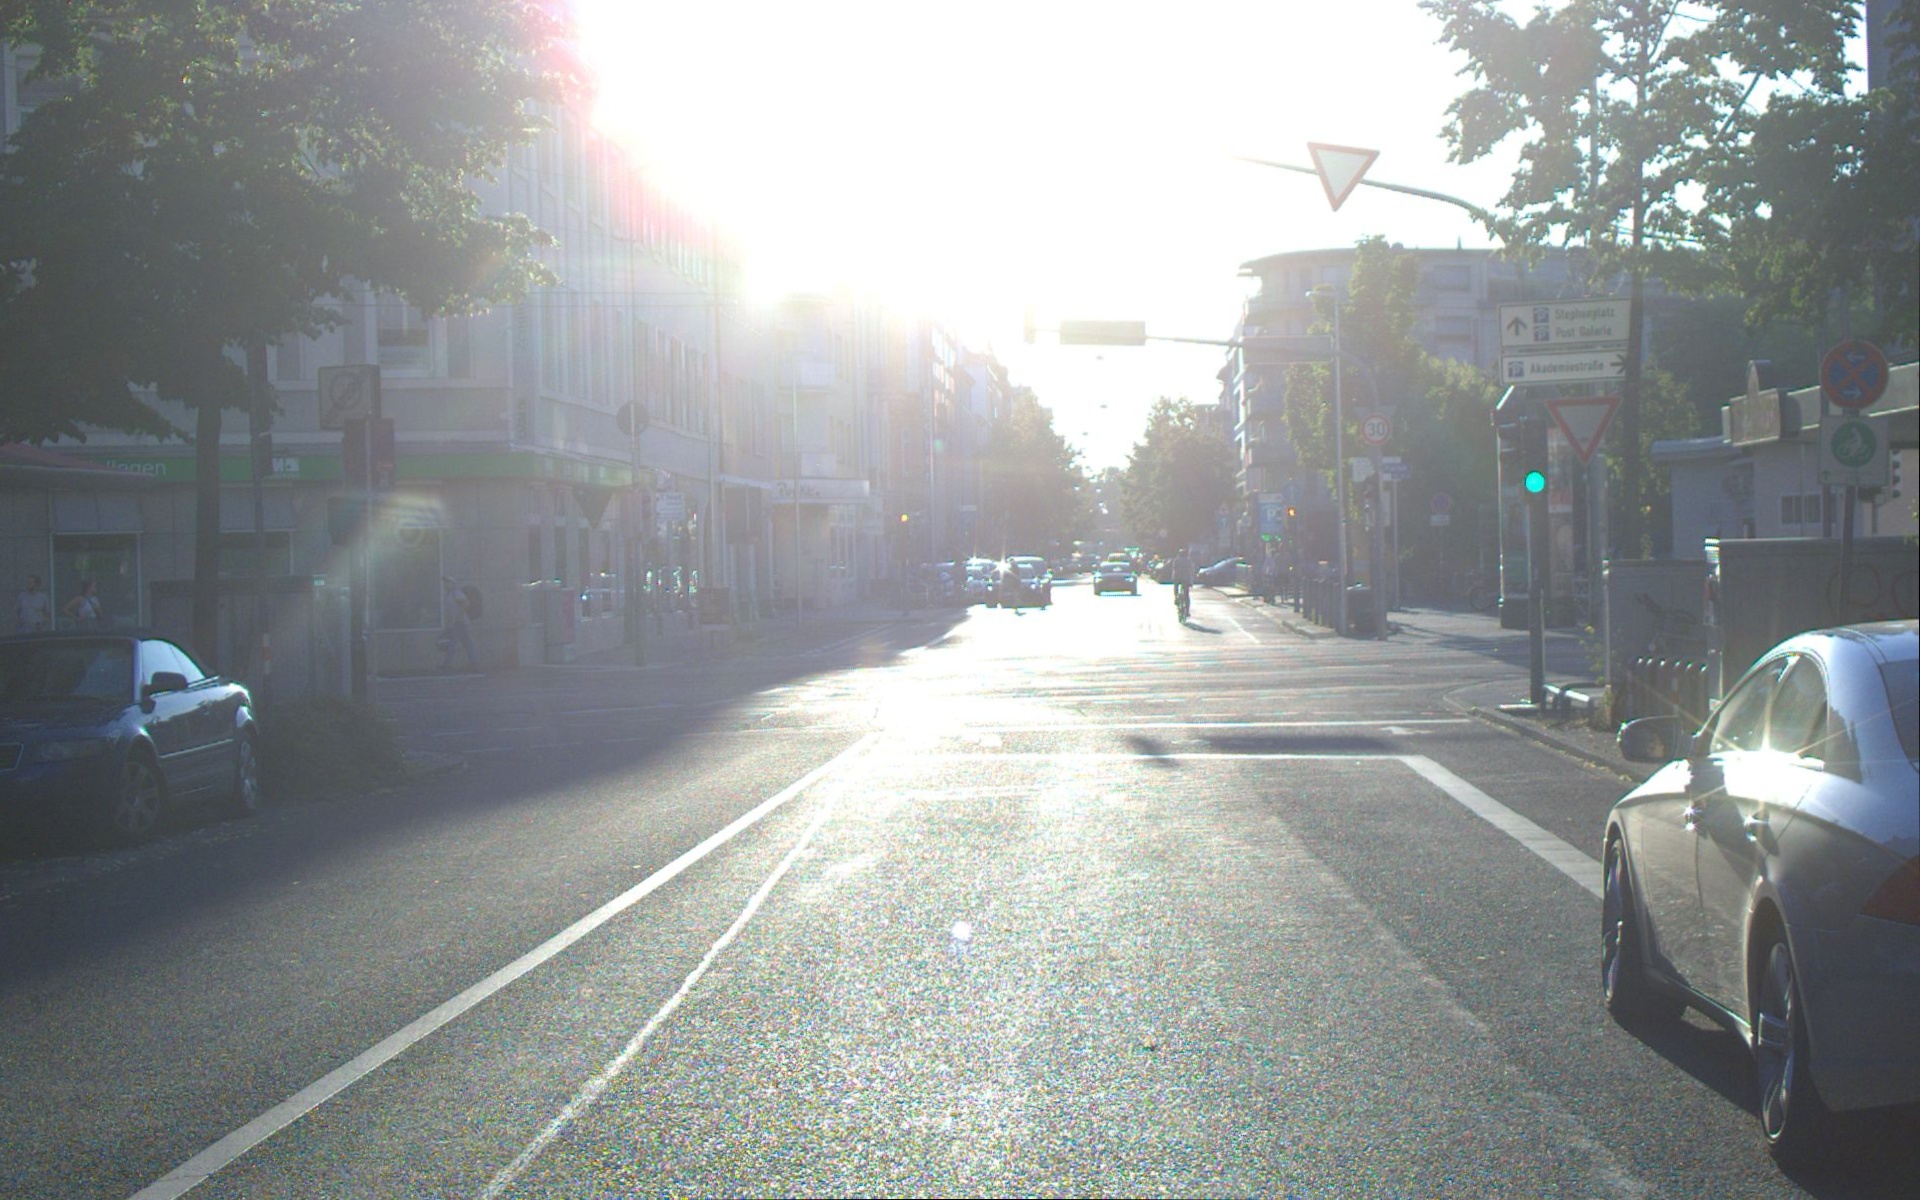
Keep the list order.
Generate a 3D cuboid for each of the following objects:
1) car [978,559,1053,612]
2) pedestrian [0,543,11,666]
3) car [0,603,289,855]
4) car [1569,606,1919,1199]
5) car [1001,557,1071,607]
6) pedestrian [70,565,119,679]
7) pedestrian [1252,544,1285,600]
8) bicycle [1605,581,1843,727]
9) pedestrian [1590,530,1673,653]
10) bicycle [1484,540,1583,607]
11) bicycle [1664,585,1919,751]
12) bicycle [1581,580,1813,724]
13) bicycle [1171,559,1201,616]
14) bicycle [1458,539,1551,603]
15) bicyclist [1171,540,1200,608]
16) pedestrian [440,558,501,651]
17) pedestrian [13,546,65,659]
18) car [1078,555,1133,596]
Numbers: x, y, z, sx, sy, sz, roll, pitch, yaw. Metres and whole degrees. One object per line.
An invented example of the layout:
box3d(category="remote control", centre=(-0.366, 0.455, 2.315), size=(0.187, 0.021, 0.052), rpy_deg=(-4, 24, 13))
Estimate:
box3d(category="car", centre=(1.901, -0.510, 116.146), size=(2.304, 1.672, 5.532), rpy_deg=(-2, 1, 3))
box3d(category="pedestrian", centre=(-15.309, 0.072, 54.071), size=(0.528, 1.922, 0.640), rpy_deg=(-2, 1, -32))
box3d(category="car", centre=(-5.869, 0.787, 22.469), size=(1.915, 1.381, 4.382), rpy_deg=(-2, 1, 2))
box3d(category="car", centre=(2.972, 0.755, 9.758), size=(1.800, 1.373, 4.552), rpy_deg=(1, 1, 2))
box3d(category="car", centre=(2.758, -0.667, 123.699), size=(2.304, 1.672, 5.532), rpy_deg=(-2, 1, 3))
box3d(category="pedestrian", centre=(-13.678, 0.346, 54.302), size=(0.645, 1.772, 0.672), rpy_deg=(-2, 1, -19))
box3d(category="pedestrian", centre=(10.060, -0.908, 112.095), size=(0.804, 1.780, 0.993), rpy_deg=(-3, 0, 17))
box3d(category="bicycle", centre=(6.532, 0.461, 29.437), size=(1.913, 1.199, 0.470), rpy_deg=(-1, 1, 5))
box3d(category="pedestrian", centre=(9.620, -0.125, 49.244), size=(0.805, 1.720, 0.992), rpy_deg=(-3, 0, 31))
box3d(category="bicycle", centre=(13.679, -0.637, 82.044), size=(2.223, 1.517, 0.681), rpy_deg=(-2, 1, 4))
box3d(category="bicycle", centre=(6.377, 0.507, 26.187), size=(1.912, 1.199, 0.470), rpy_deg=(-1, 1, -8))
box3d(category="bicycle", centre=(6.408, 0.448, 29.938), size=(1.913, 1.199, 0.470), rpy_deg=(-1, 1, 5))
box3d(category="bicycle", centre=(5.685, -0.325, 86.477), size=(0.679, 1.397, 2.229), rpy_deg=(-2, 1, 5))
box3d(category="bicycle", centre=(13.498, -0.717, 85.205), size=(2.223, 1.517, 0.681), rpy_deg=(-1, 1, 8))
box3d(category="bicyclist", centre=(5.660, -0.652, 86.376), size=(0.679, 1.701, 0.669), rpy_deg=(-2, 1, 5))
box3d(category="pedestrian", centre=(-8.252, 0.073, 57.955), size=(0.867, 1.543, 0.699), rpy_deg=(-2, 1, -19))
box3d(category="pedestrian", centre=(-14.447, 0.038, 53.932), size=(0.697, 1.739, 0.640), rpy_deg=(-2, 1, -19))
box3d(category="car", centre=(6.353, -1.098, 149.418), size=(2.304, 1.672, 5.532), rpy_deg=(-2, 1, 3))
